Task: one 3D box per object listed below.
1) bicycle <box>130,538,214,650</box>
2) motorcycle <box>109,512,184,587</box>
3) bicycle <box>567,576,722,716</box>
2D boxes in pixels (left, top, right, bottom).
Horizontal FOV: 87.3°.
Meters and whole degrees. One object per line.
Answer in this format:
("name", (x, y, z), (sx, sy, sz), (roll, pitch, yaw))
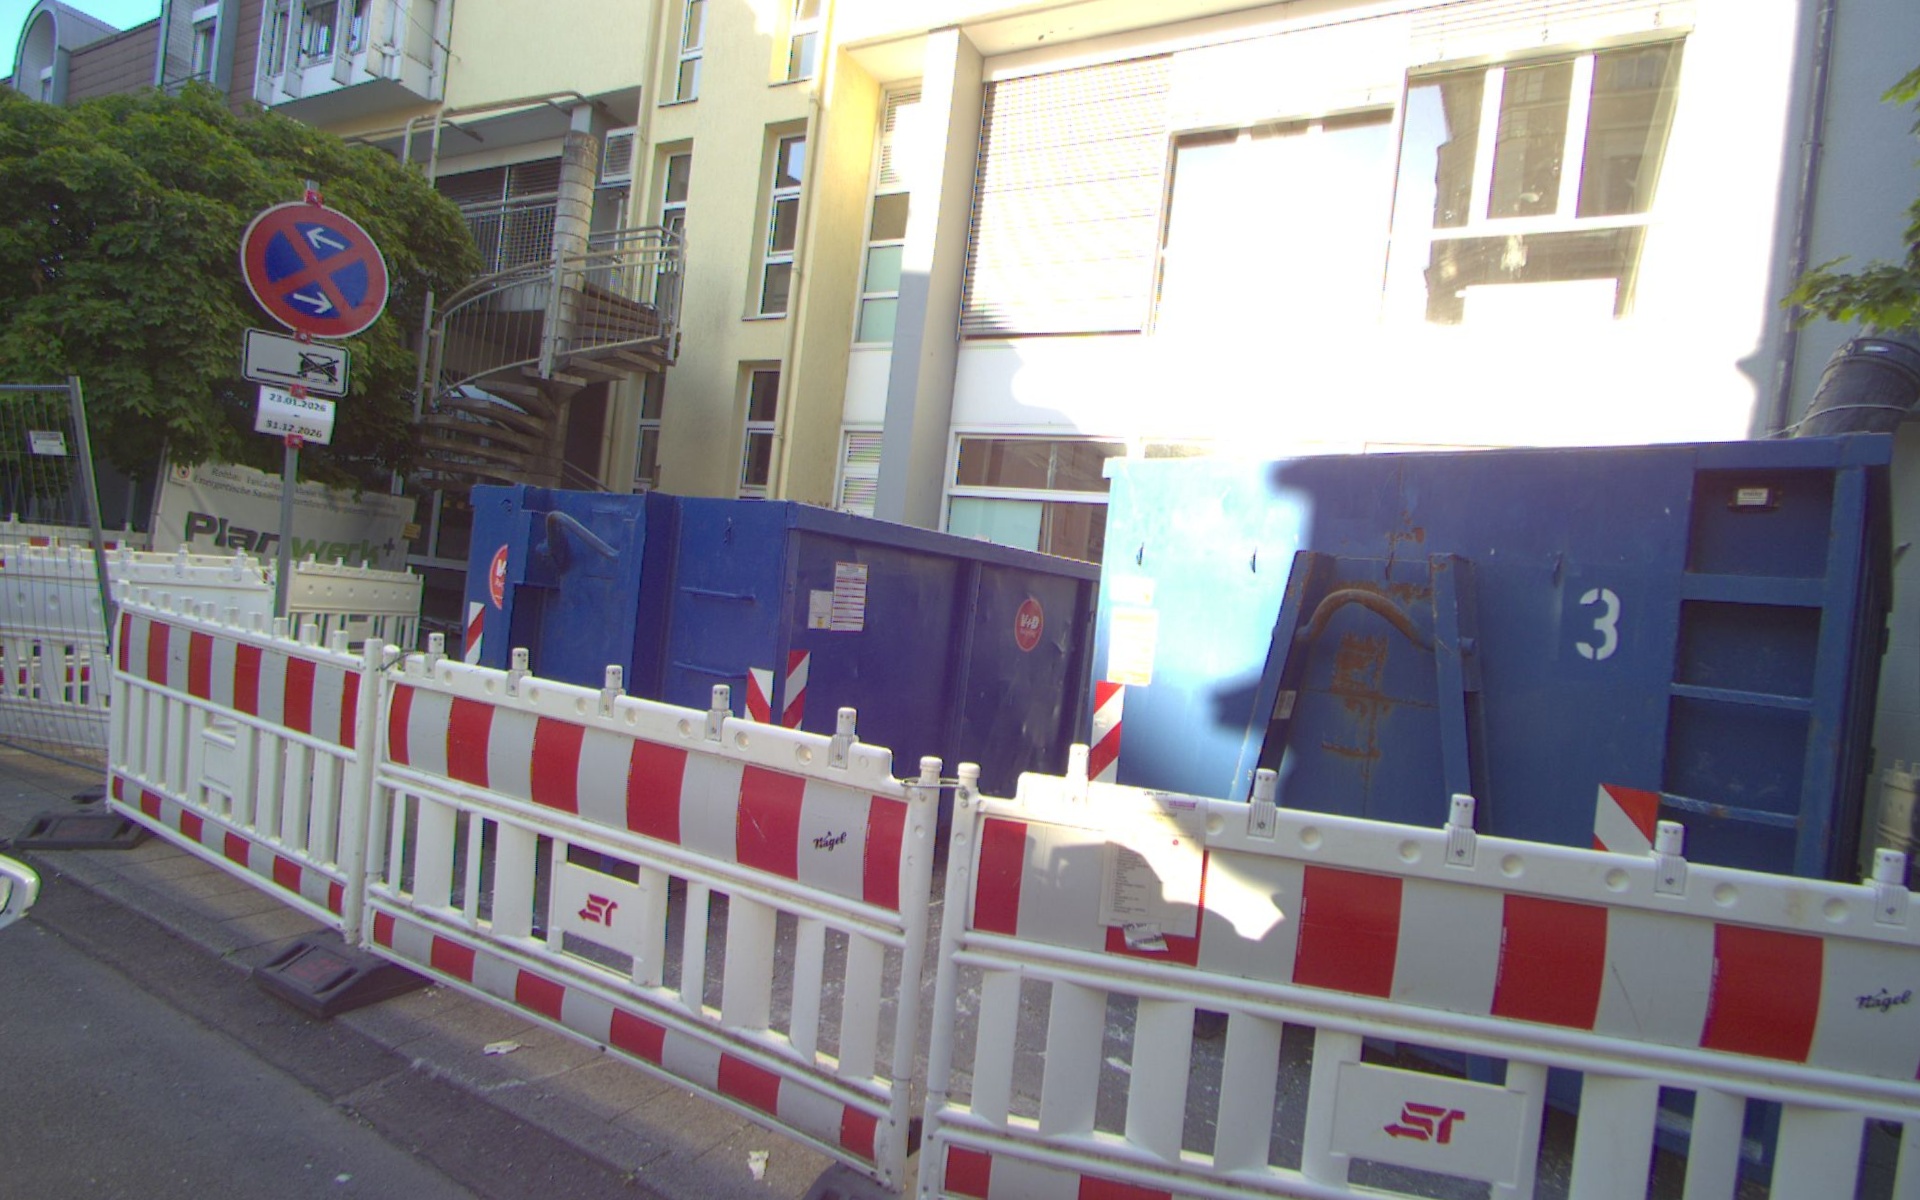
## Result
("bicycle", (-8.442, -0.085, 10.791), (0.565, 1.082, 1.352), (8, -2, -38))
("motorcycle", (-15.251, -0.962, 18.829), (0.866, 1.237, 2.428), (6, 0, -43))
("bicycle", (-3.221, 0.500, 10.445), (0.539, 1.282, 1.652), (7, -2, 18))
